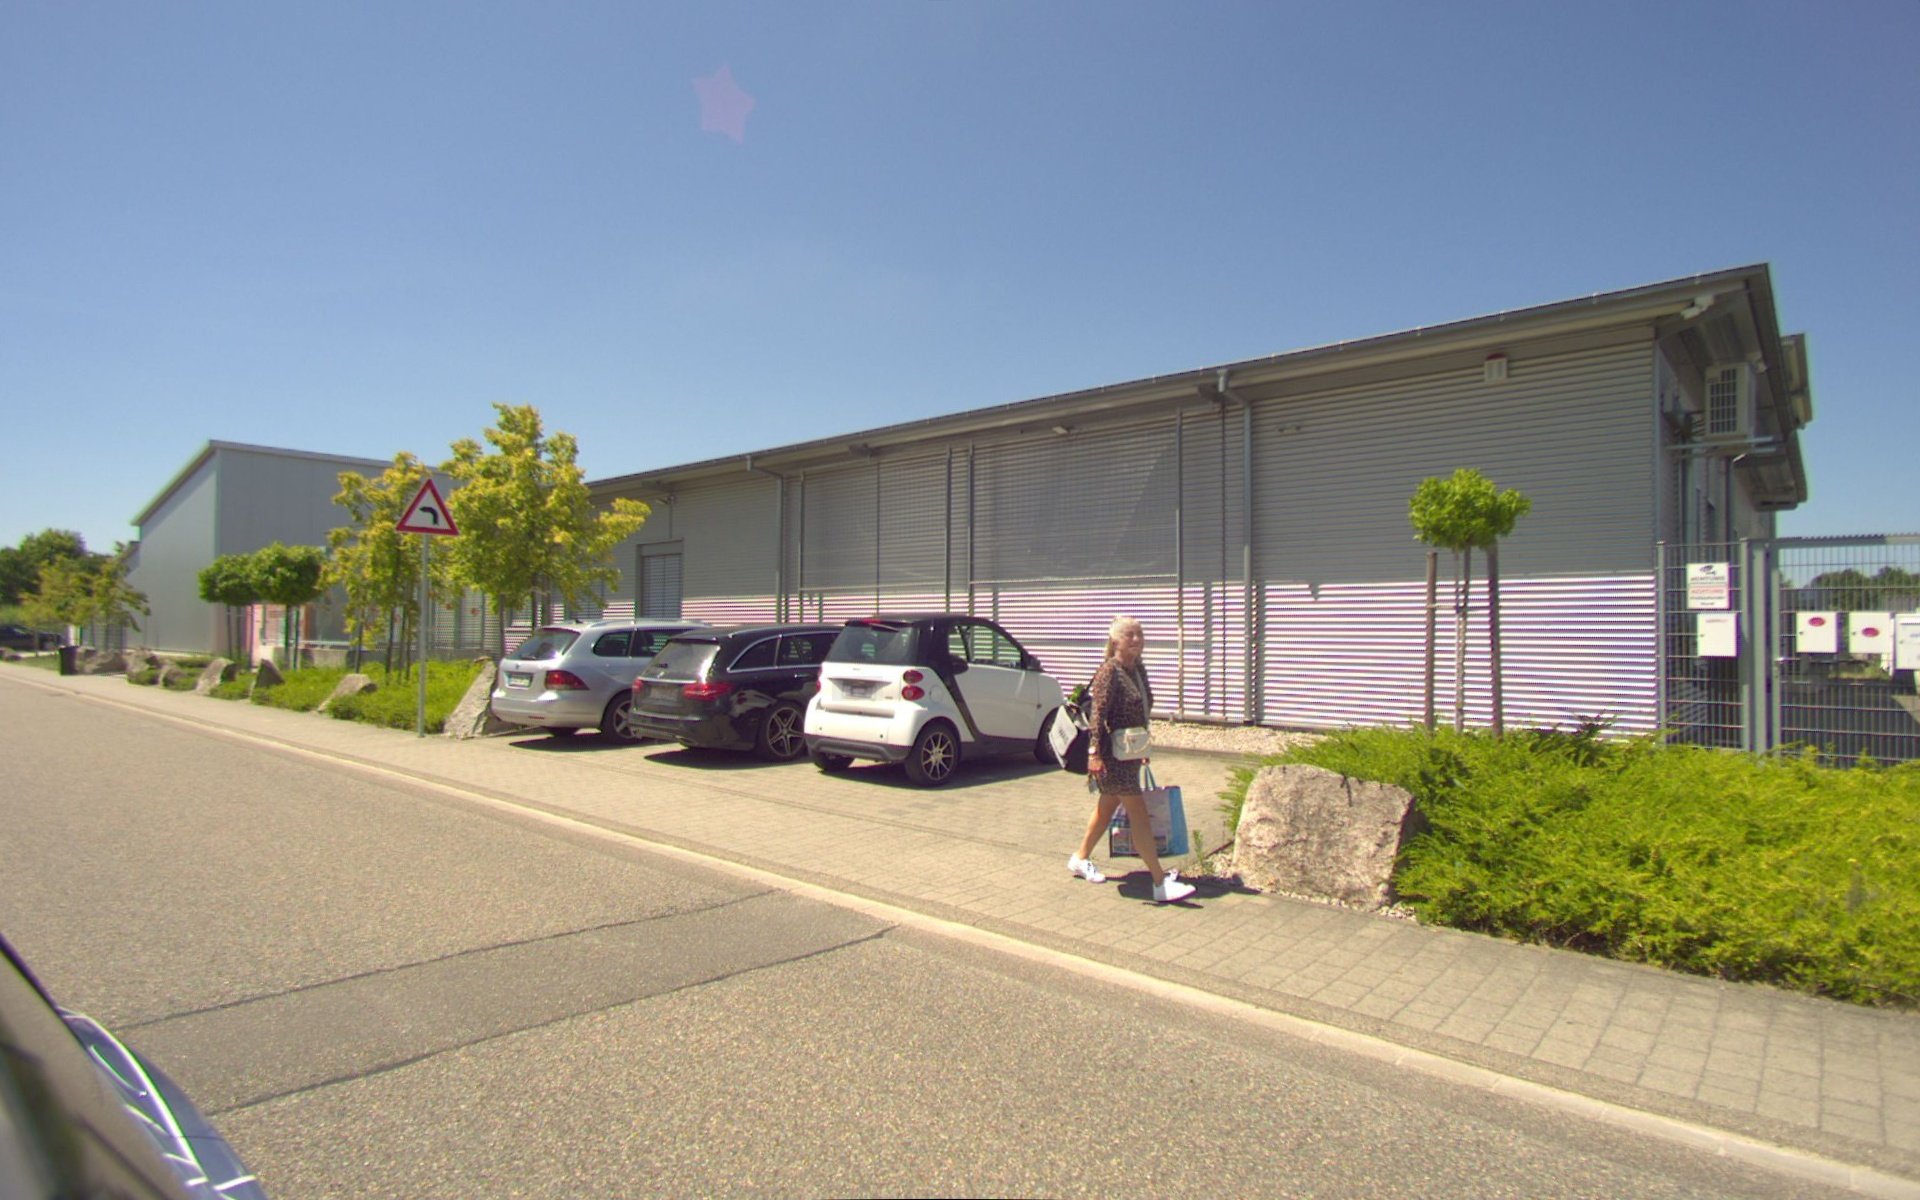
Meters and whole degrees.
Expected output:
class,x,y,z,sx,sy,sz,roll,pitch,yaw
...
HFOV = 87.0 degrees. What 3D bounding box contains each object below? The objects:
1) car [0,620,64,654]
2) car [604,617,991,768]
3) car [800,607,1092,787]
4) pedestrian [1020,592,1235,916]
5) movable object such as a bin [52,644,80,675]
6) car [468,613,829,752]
class,x,y,z,sx,sy,sz,roll,pitch,yaw
car,-53.108,2.107,56.693,1.781,1.671,4.120,-1,3,41
car,-1.722,0.948,11.863,1.846,1.442,4.262,-1,-2,42
car,-0.060,0.866,10.143,1.534,1.529,2.713,-1,-2,40
pedestrian,0.926,0.757,5.552,0.785,1.586,0.889,-2,-1,42
movable object such as a bin,-28.365,1.894,32.119,0.511,0.957,0.565,-1,-2,36
car,-3.922,0.968,13.329,1.865,1.529,4.218,-1,-2,40
